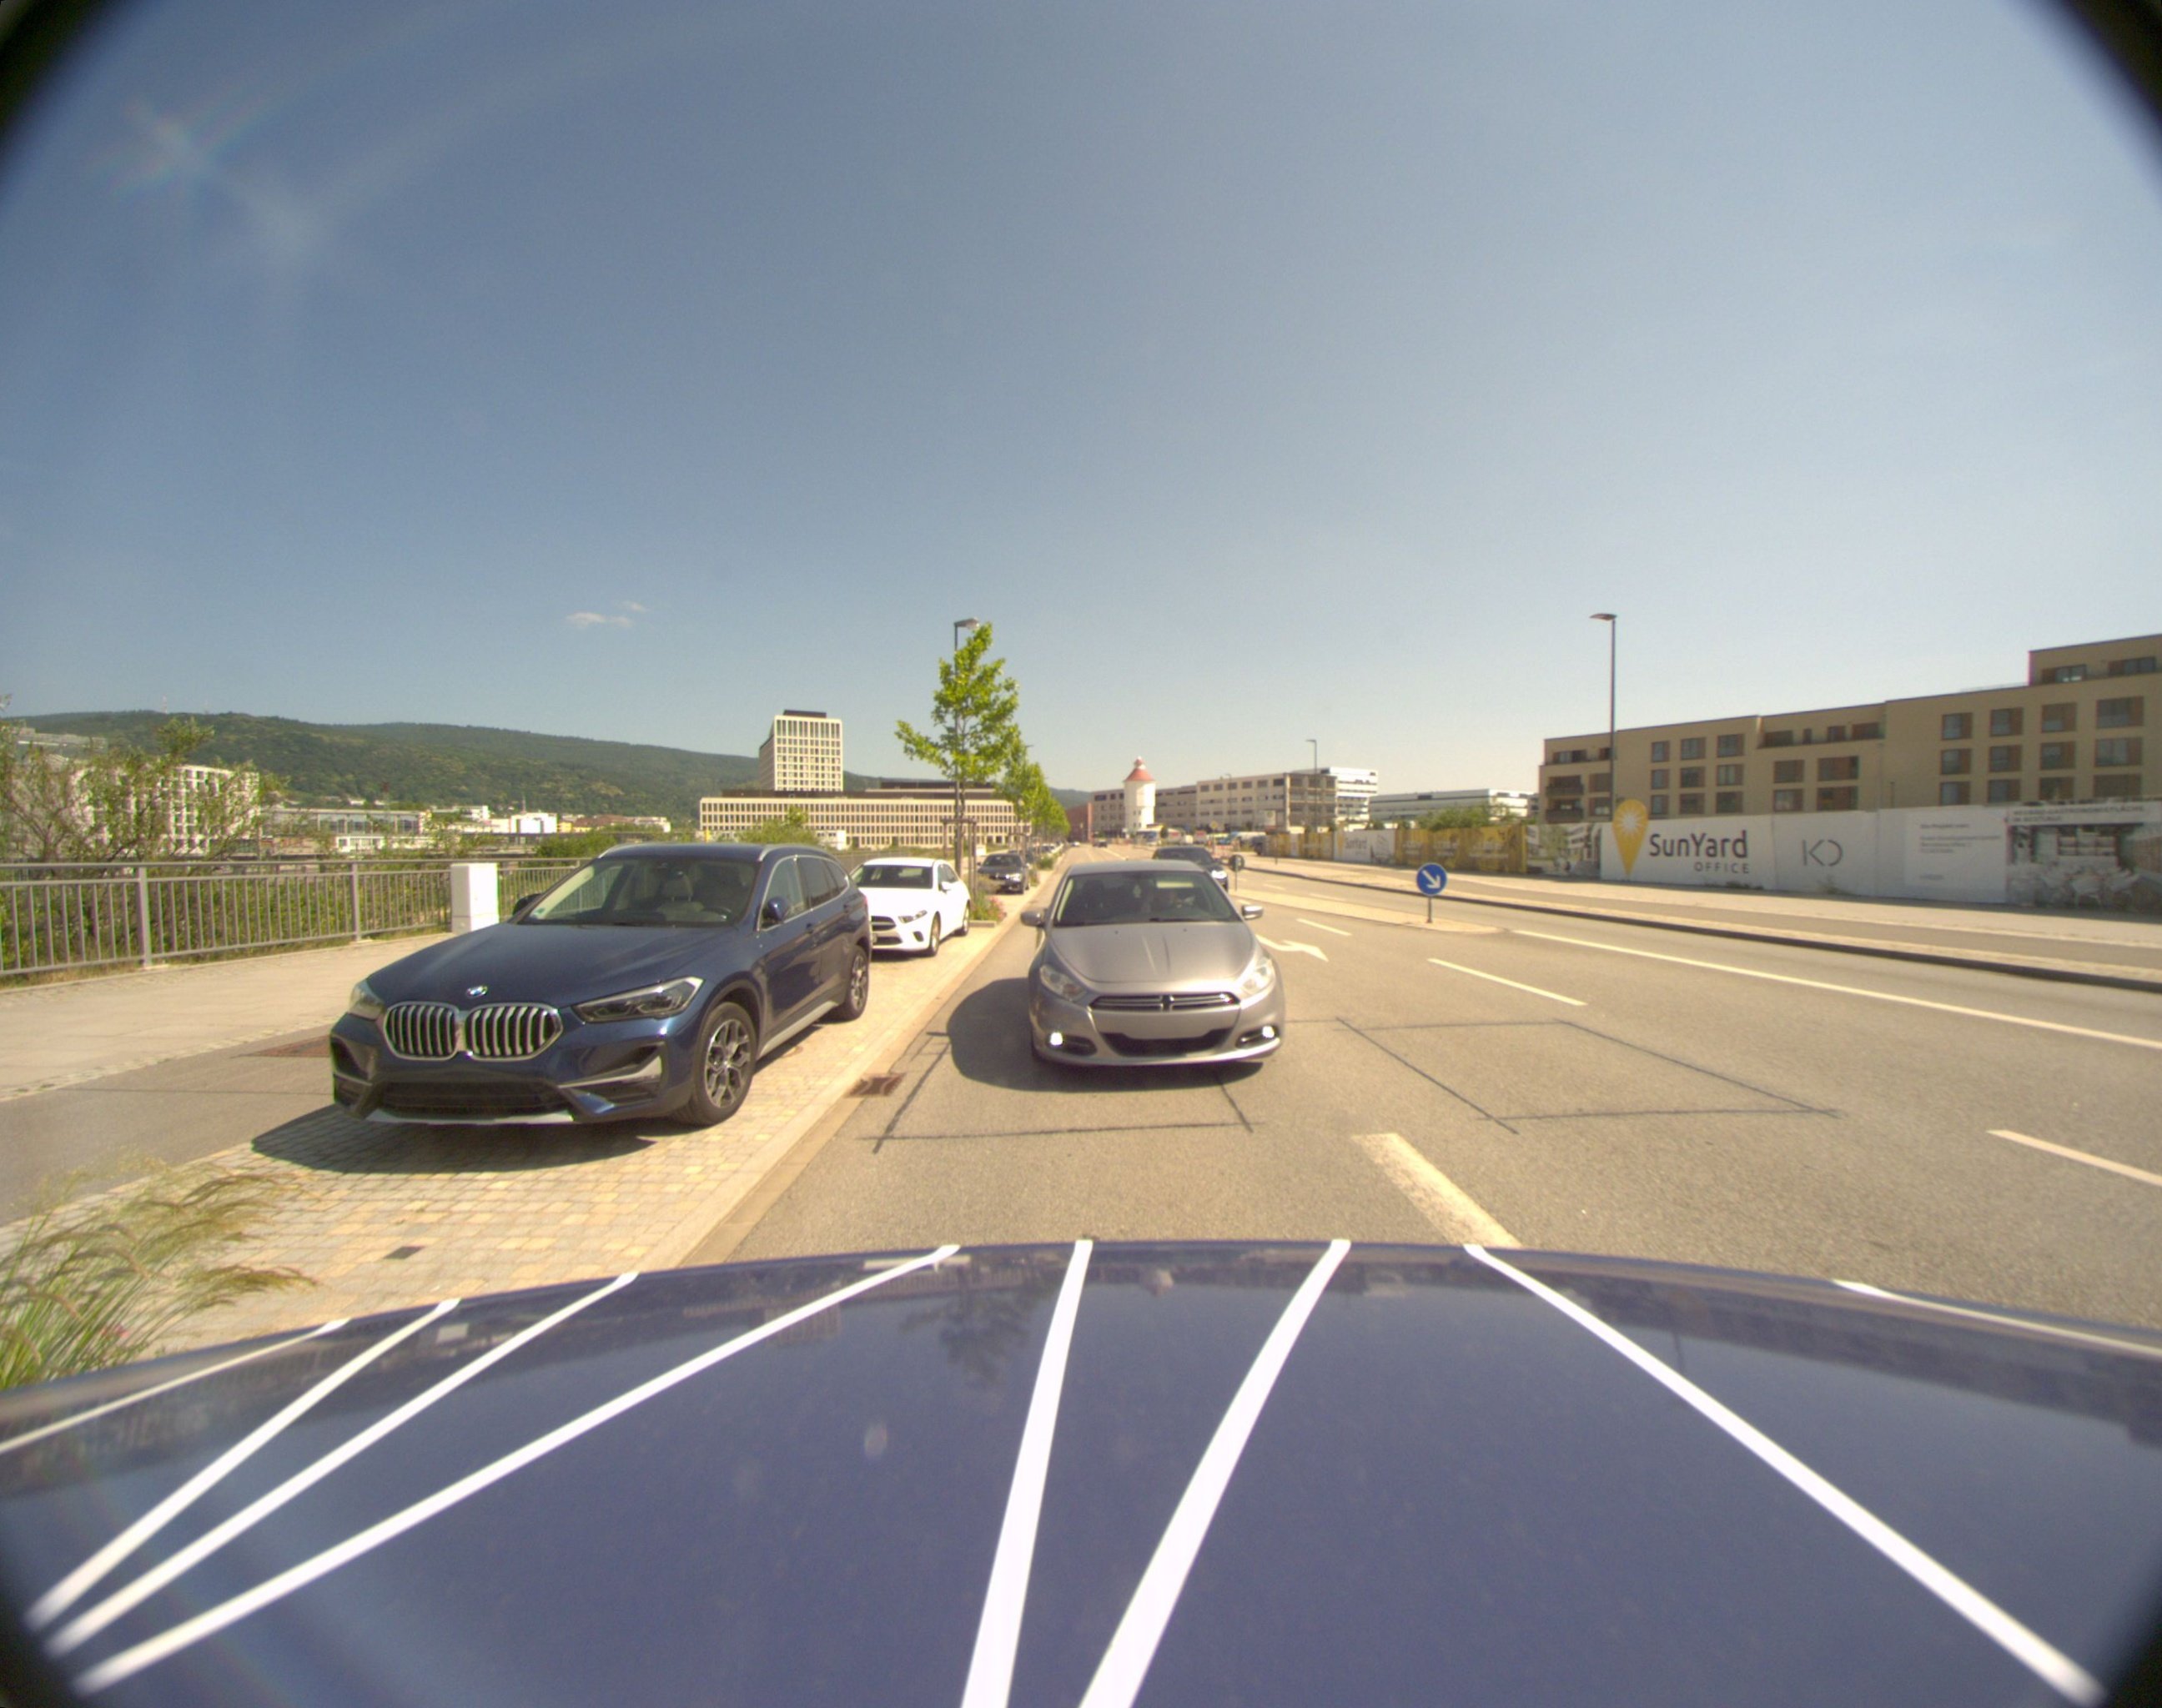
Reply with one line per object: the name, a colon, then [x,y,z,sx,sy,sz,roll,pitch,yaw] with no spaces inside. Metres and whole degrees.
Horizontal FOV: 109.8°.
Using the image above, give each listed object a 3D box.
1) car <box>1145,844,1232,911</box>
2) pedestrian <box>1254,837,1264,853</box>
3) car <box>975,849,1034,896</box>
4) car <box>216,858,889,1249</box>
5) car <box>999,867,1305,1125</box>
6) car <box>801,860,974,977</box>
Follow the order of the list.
car: [2.906,0.573,21.402,1.806,1.632,4.365,-2,1,1]
pedestrian: [18.209,-0.939,77.824,0.705,1.577,0.617,-3,1,-36]
car: [-2.757,0.627,28.080,1.664,1.529,3.999,-2,1,1]
car: [-2.858,0.896,5.465,1.769,1.598,4.238,-2,1,1]
car: [0.454,0.887,6.617,1.784,1.372,4.135,-2,1,1]
car: [-2.890,0.884,12.266,1.664,1.447,3.999,-2,1,1]
